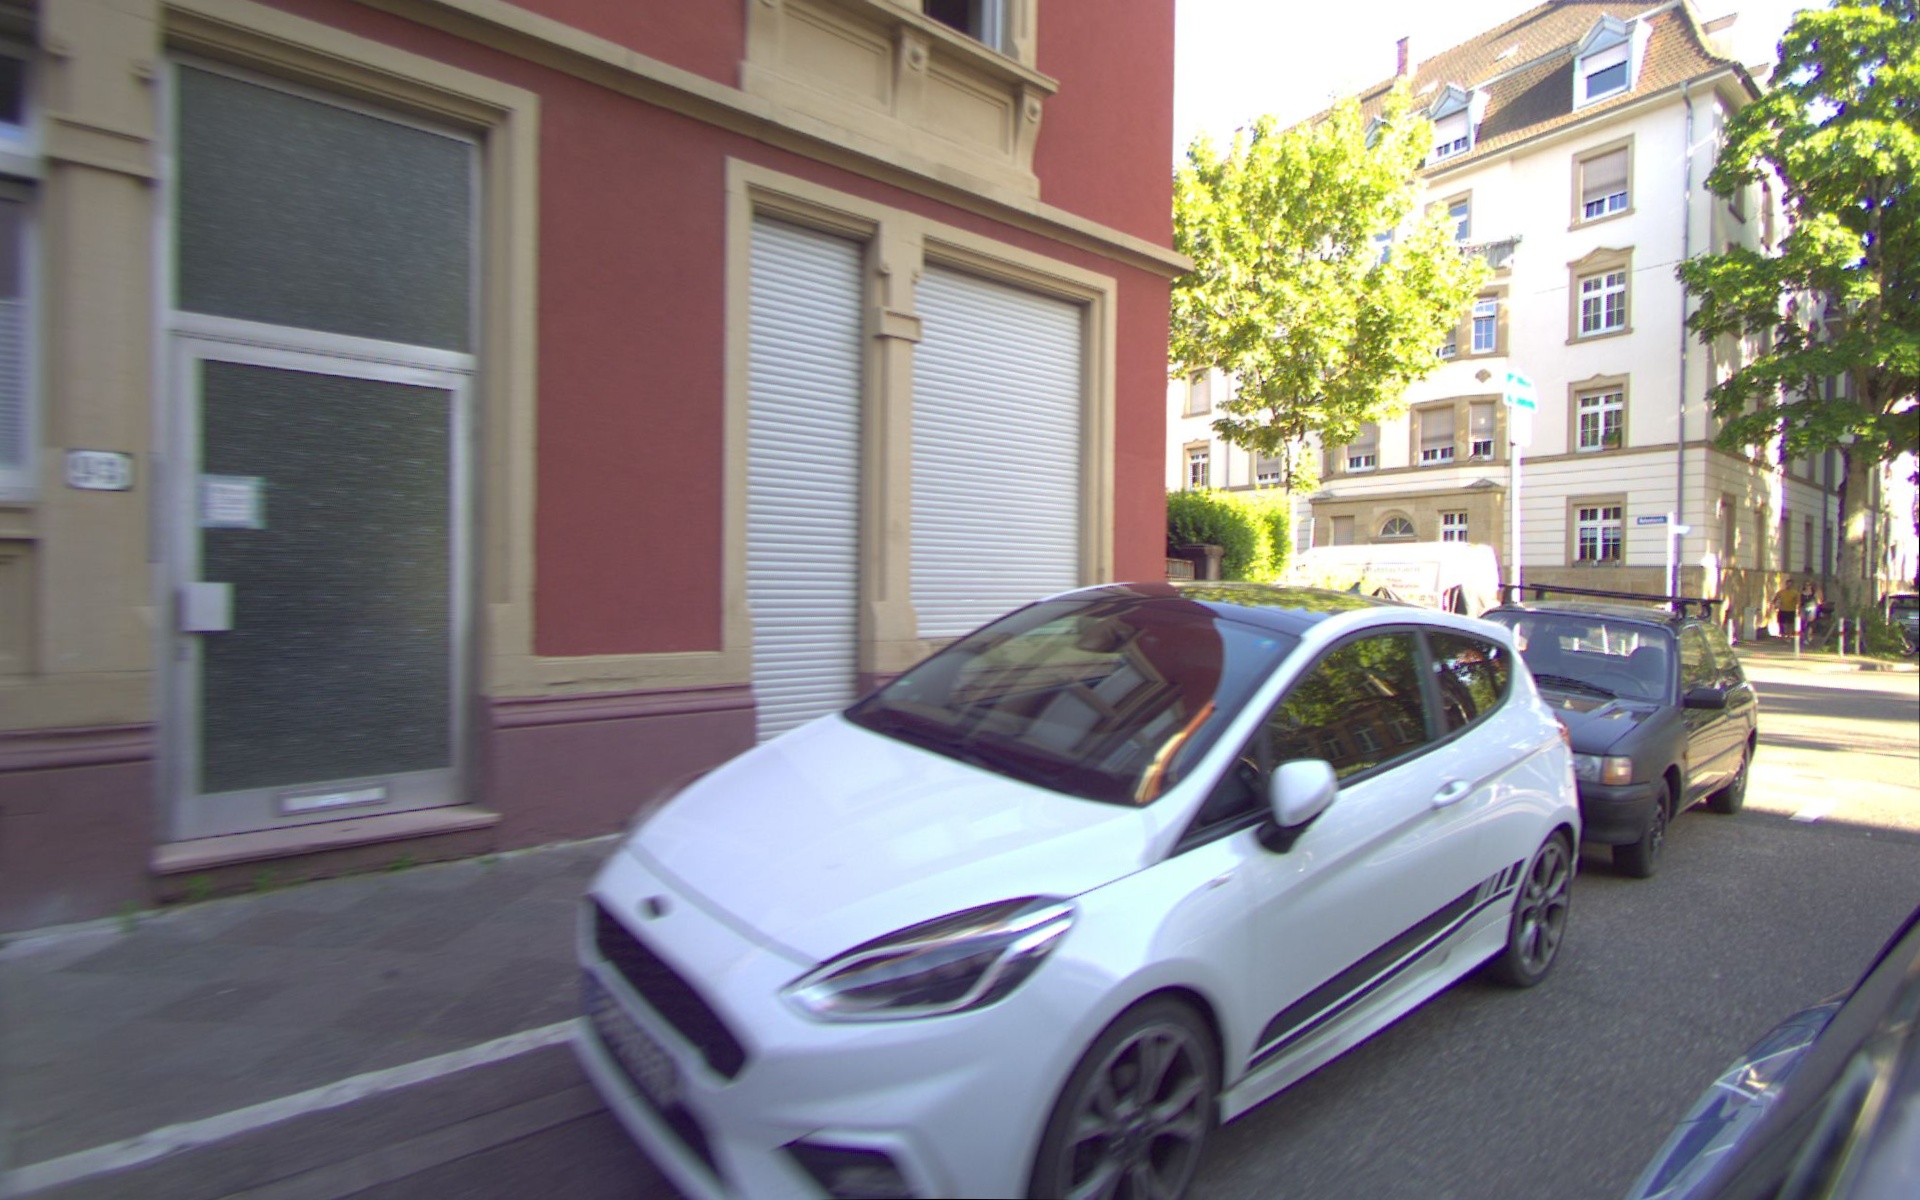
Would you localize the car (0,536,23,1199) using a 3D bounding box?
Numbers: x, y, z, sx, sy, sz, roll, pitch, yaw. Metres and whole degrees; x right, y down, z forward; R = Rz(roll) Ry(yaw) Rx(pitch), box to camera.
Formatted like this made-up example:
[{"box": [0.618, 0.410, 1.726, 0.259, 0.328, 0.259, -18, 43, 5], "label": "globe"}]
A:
[{"box": [-3.023, 0.662, 0.254, 3.997, 1.522, 1.680, 0, 1, -40], "label": "car"}]

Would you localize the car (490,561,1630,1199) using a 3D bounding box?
[{"box": [0.696, 0.641, 3.490, 3.901, 1.480, 1.708, -1, 2, -41], "label": "car"}]

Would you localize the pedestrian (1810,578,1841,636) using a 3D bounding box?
[{"box": [28.104, 0.214, 32.846, 0.704, 1.868, 0.827, 1, 1, 44], "label": "pedestrian"}]

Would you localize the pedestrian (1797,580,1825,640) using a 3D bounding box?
[{"box": [27.030, 0.298, 32.152, 0.694, 1.868, 0.529, 0, 1, -40], "label": "pedestrian"}]

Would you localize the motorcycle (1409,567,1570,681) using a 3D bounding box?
[{"box": [7.750, 0.327, 14.774, 2.571, 1.544, 0.875, 1, 1, -32], "label": "motorcycle"}]

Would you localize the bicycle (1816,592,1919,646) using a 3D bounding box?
[{"box": [21.743, 0.429, 24.257, 0.424, 1.176, 1.803, 1, 3, -25], "label": "bicycle"}]

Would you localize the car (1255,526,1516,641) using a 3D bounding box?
[{"box": [10.270, -0.457, 25.003, 2.260, 2.498, 5.671, 0, 2, -31], "label": "car"}]

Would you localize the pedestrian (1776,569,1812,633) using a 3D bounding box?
[{"box": [22.764, 0.024, 27.634, 0.804, 1.705, 0.624, 0, 1, -41], "label": "pedestrian"}]

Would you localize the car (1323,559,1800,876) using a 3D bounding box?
[{"box": [4.081, 0.520, 6.636, 3.643, 1.501, 1.671, -1, 2, -42], "label": "car"}]

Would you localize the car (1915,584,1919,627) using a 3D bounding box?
[{"box": [35.973, 0.194, 36.618, 3.930, 1.551, 1.638, -1, 2, -41], "label": "car"}]

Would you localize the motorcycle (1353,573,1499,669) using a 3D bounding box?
[{"box": [7.390, 0.291, 16.006, 2.493, 1.422, 0.872, 0, 2, -32], "label": "motorcycle"}]

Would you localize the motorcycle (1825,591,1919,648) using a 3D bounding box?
[{"box": [22.446, 0.462, 24.744, 0.667, 1.227, 1.853, 2, 3, -43], "label": "motorcycle"}]

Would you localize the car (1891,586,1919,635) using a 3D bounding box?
[{"box": [29.876, 0.307, 31.110, 1.724, 1.424, 3.795, 3, 3, 44], "label": "car"}]

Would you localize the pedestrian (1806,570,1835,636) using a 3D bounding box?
[{"box": [23.008, 0.082, 27.055, 0.508, 1.740, 0.519, 0, 1, -43], "label": "pedestrian"}]

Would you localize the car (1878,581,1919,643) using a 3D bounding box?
[{"box": [26.011, 0.306, 27.082, 4.063, 1.559, 1.683, 0, 3, -42], "label": "car"}]
